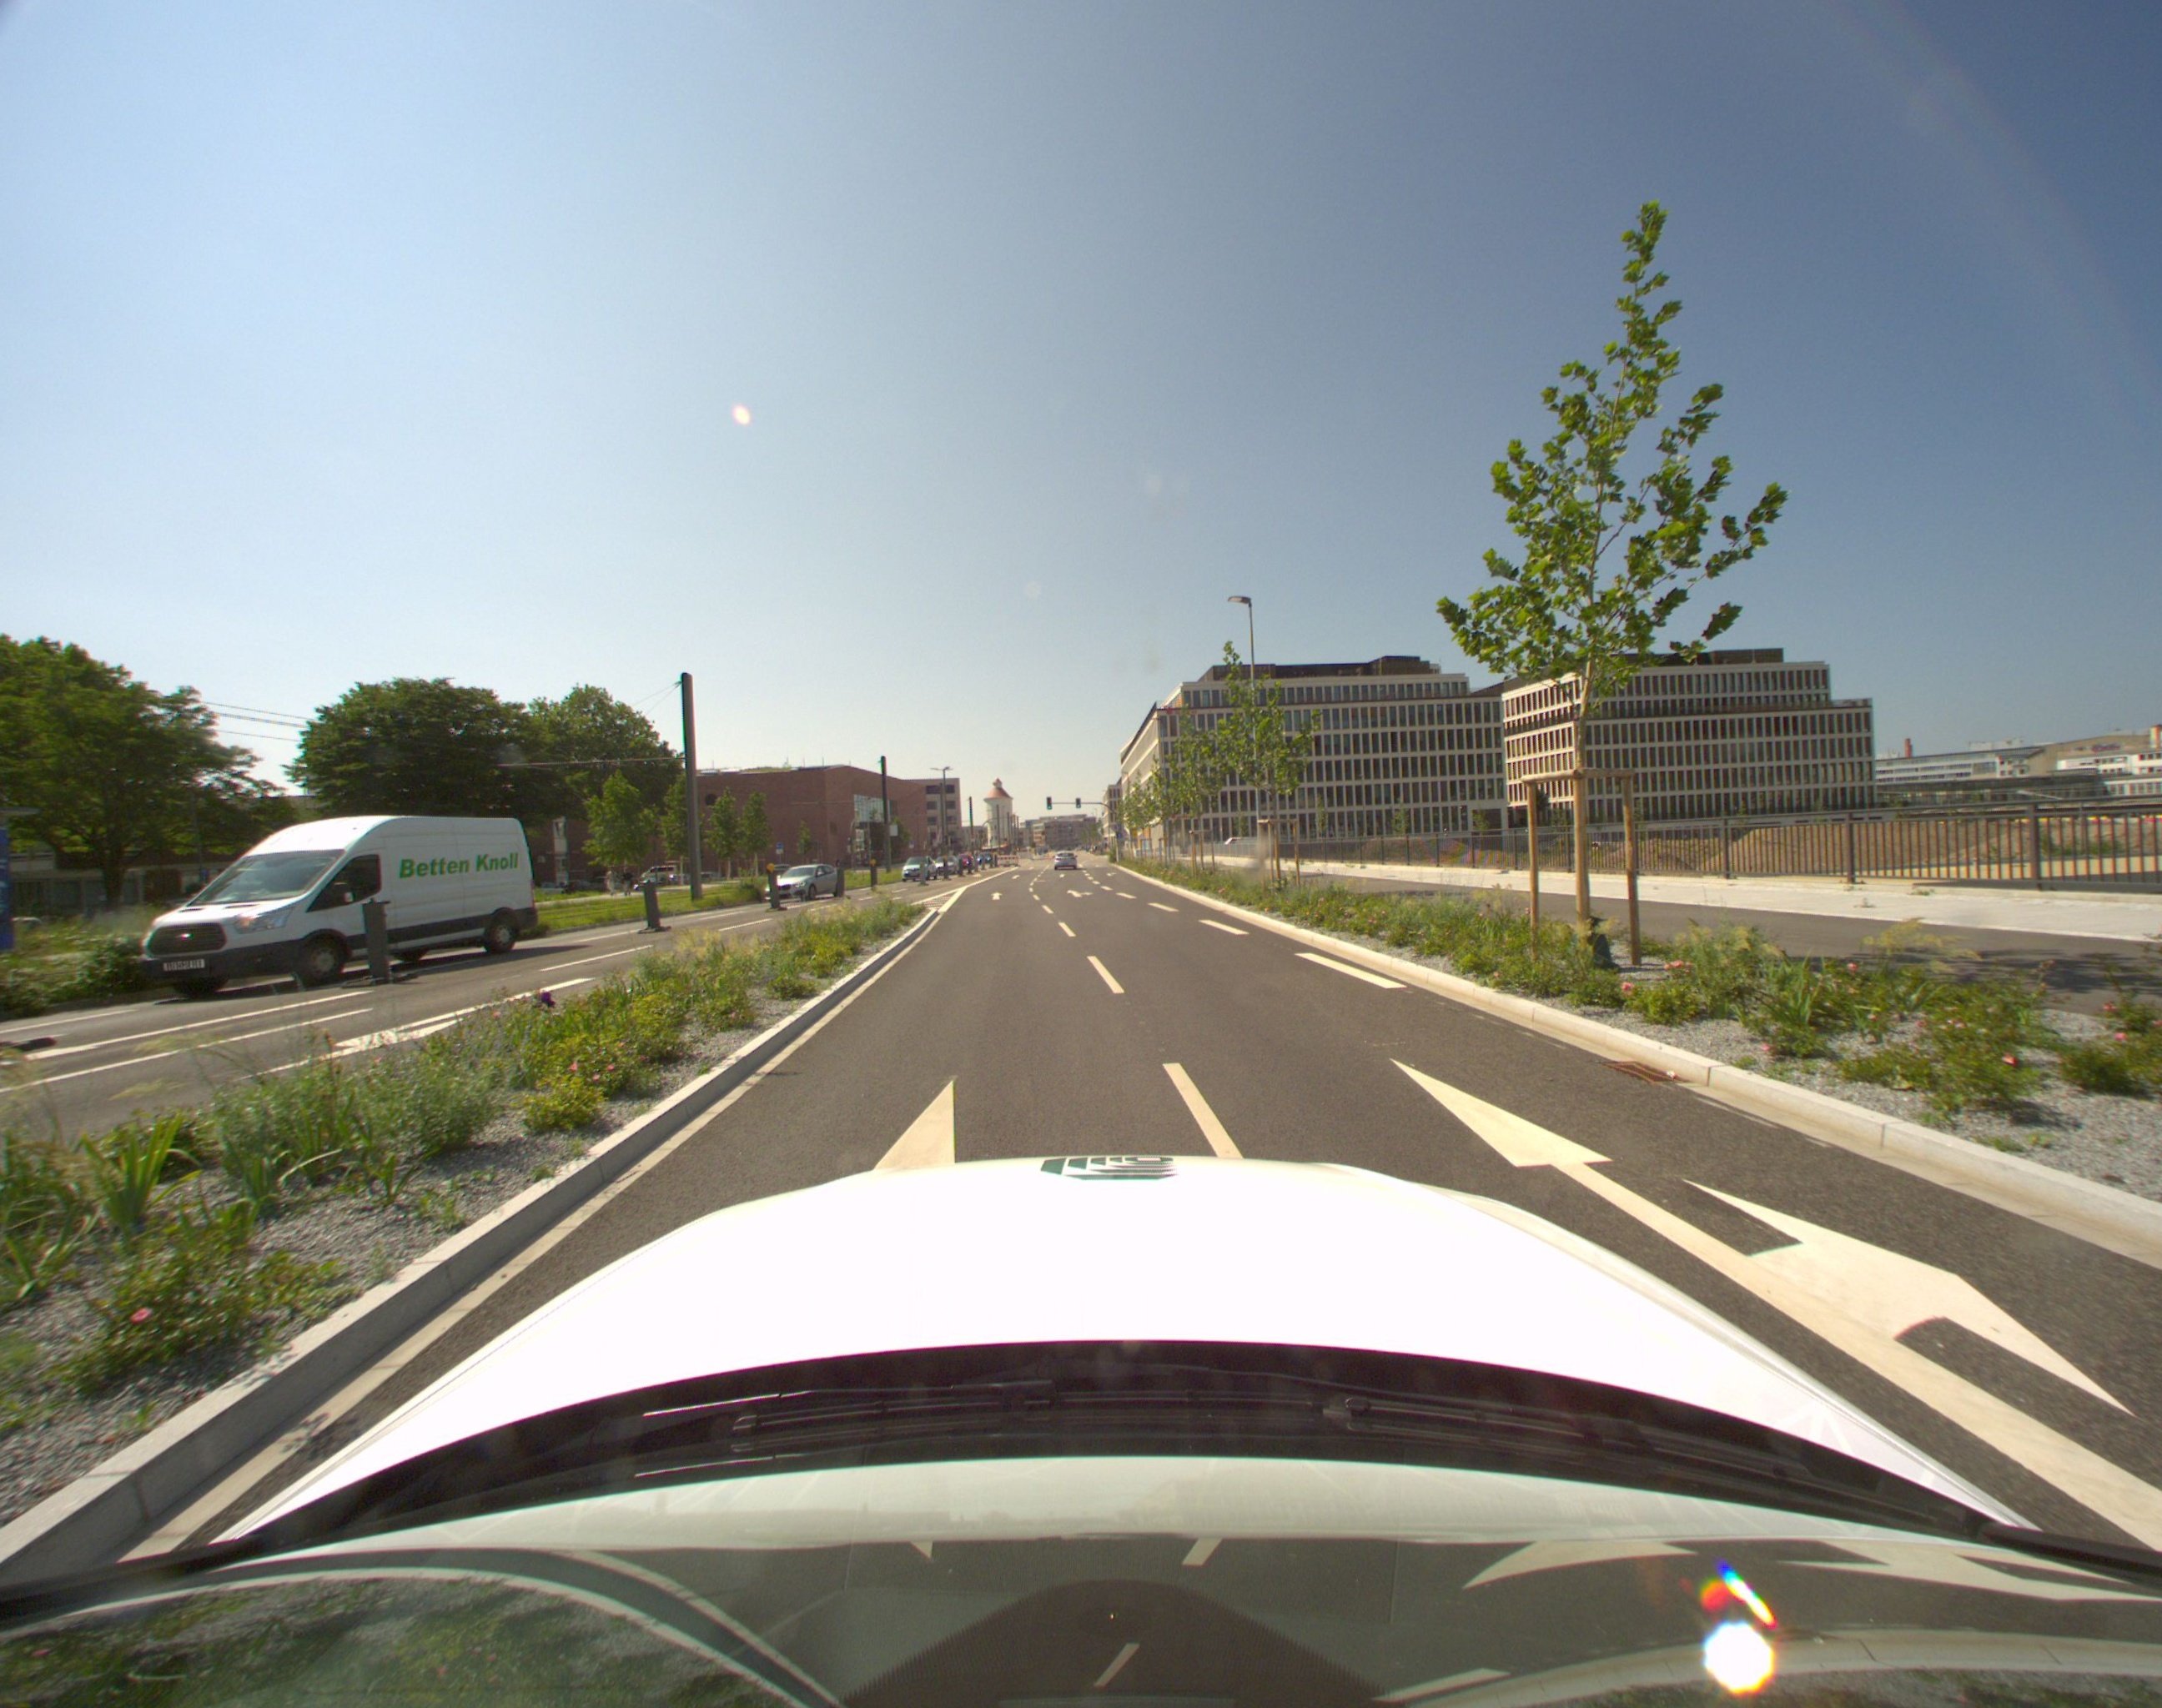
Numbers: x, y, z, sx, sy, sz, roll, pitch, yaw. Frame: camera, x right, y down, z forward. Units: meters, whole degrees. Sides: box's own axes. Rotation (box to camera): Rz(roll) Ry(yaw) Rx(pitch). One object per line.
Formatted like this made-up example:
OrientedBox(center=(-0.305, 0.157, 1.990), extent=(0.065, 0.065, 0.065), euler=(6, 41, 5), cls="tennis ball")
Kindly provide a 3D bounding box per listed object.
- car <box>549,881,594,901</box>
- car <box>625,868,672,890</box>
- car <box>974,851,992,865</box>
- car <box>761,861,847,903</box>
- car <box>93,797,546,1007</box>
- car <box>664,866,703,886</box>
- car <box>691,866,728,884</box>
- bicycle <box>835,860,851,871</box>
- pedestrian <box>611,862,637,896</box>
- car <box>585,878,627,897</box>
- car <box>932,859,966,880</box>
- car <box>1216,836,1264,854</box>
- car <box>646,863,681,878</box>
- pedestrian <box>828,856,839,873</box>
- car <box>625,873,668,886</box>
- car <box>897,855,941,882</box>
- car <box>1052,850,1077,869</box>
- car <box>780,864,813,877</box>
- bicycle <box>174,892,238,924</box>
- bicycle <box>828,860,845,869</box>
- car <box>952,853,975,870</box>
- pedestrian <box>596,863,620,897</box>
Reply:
OrientedBox(center=(-43.008, 3.108, 68.773), extent=(1.535, 1.457, 3.783), euler=(-2, 1, -4), cls="car")
OrientedBox(center=(-37.702, 2.128, 71.129), extent=(1.693, 1.761, 4.529), euler=(-2, 0, -1), cls="car")
OrientedBox(center=(-11.044, 0.469, 91.984), extent=(1.624, 1.427, 4.287), euler=(-4, 1, -2), cls="car")
OrientedBox(center=(-11.406, 1.118, 33.877), extent=(1.666, 1.443, 4.473), euler=(-5, 0, 4), cls="car")
OrientedBox(center=(-12.501, 0.652, 14.259), extent=(2.070, 2.740, 5.986), euler=(-4, 0, 0), cls="car")
OrientedBox(center=(-37.199, 2.037, 76.338), extent=(1.693, 1.761, 3.939), euler=(-2, 0, 0), cls="car")
OrientedBox(center=(-37.533, 2.105, 82.410), extent=(1.693, 1.761, 4.299), euler=(-2, 0, -1), cls="car")
OrientedBox(center=(-33.604, 1.626, 114.921), extent=(2.052, 1.453, 0.537), euler=(-2, 1, -12), cls="bicycle")
OrientedBox(center=(-28.061, 1.542, 50.034), extent=(0.979, 2.013, 0.910), euler=(-2, 0, 1), cls="pedestrian")
OrientedBox(center=(-43.257, 3.011, 74.273), extent=(1.534, 1.457, 3.786), euler=(-2, 1, -1), cls="car")
OrientedBox(center=(-10.127, 1.141, 62.803), extent=(1.573, 1.416, 4.301), euler=(-3, 0, 4), cls="car")
OrientedBox(center=(20.824, -1.144, 106.968), extent=(5.819, 2.270, 2.146), euler=(-1, 1, -1), cls="car")
OrientedBox(center=(-53.479, 2.112, 104.252), extent=(3.532, 1.689, 1.693), euler=(-2, 1, -1), cls="car")
OrientedBox(center=(-28.917, 1.224, 95.265), extent=(0.807, 1.846, 1.109), euler=(-2, 0, 5), cls="pedestrian")
OrientedBox(center=(-51.374, 3.033, 96.294), extent=(3.969, 1.403, 2.002), euler=(-2, 0, 4), cls="car")
OrientedBox(center=(-10.263, 0.900, 51.865), extent=(1.572, 1.530, 3.627), euler=(-5, 0, 6), cls="car")
OrientedBox(center=(-1.293, 0.441, 64.768), extent=(1.765, 1.395, 3.532), euler=(-1, -1, 1), cls="car")
OrientedBox(center=(-34.804, 2.050, 99.629), extent=(3.469, 1.369, 1.572), euler=(-2, 1, -2), cls="car")
OrientedBox(center=(-30.245, 1.846, 28.165), extent=(0.458, 0.985, 1.558), euler=(-2, 0, 2), cls="bicycle")
OrientedBox(center=(-33.123, 1.441, 110.262), extent=(2.052, 1.212, 0.537), euler=(-2, 0, -12), cls="bicycle")
OrientedBox(center=(-10.723, 0.678, 74.461), extent=(1.576, 1.416, 3.997), euler=(-3, 0, -1), cls="car")
OrientedBox(center=(-29.082, 1.566, 50.077), extent=(0.836, 2.013, 0.984), euler=(-2, 0, 2), cls="pedestrian")
